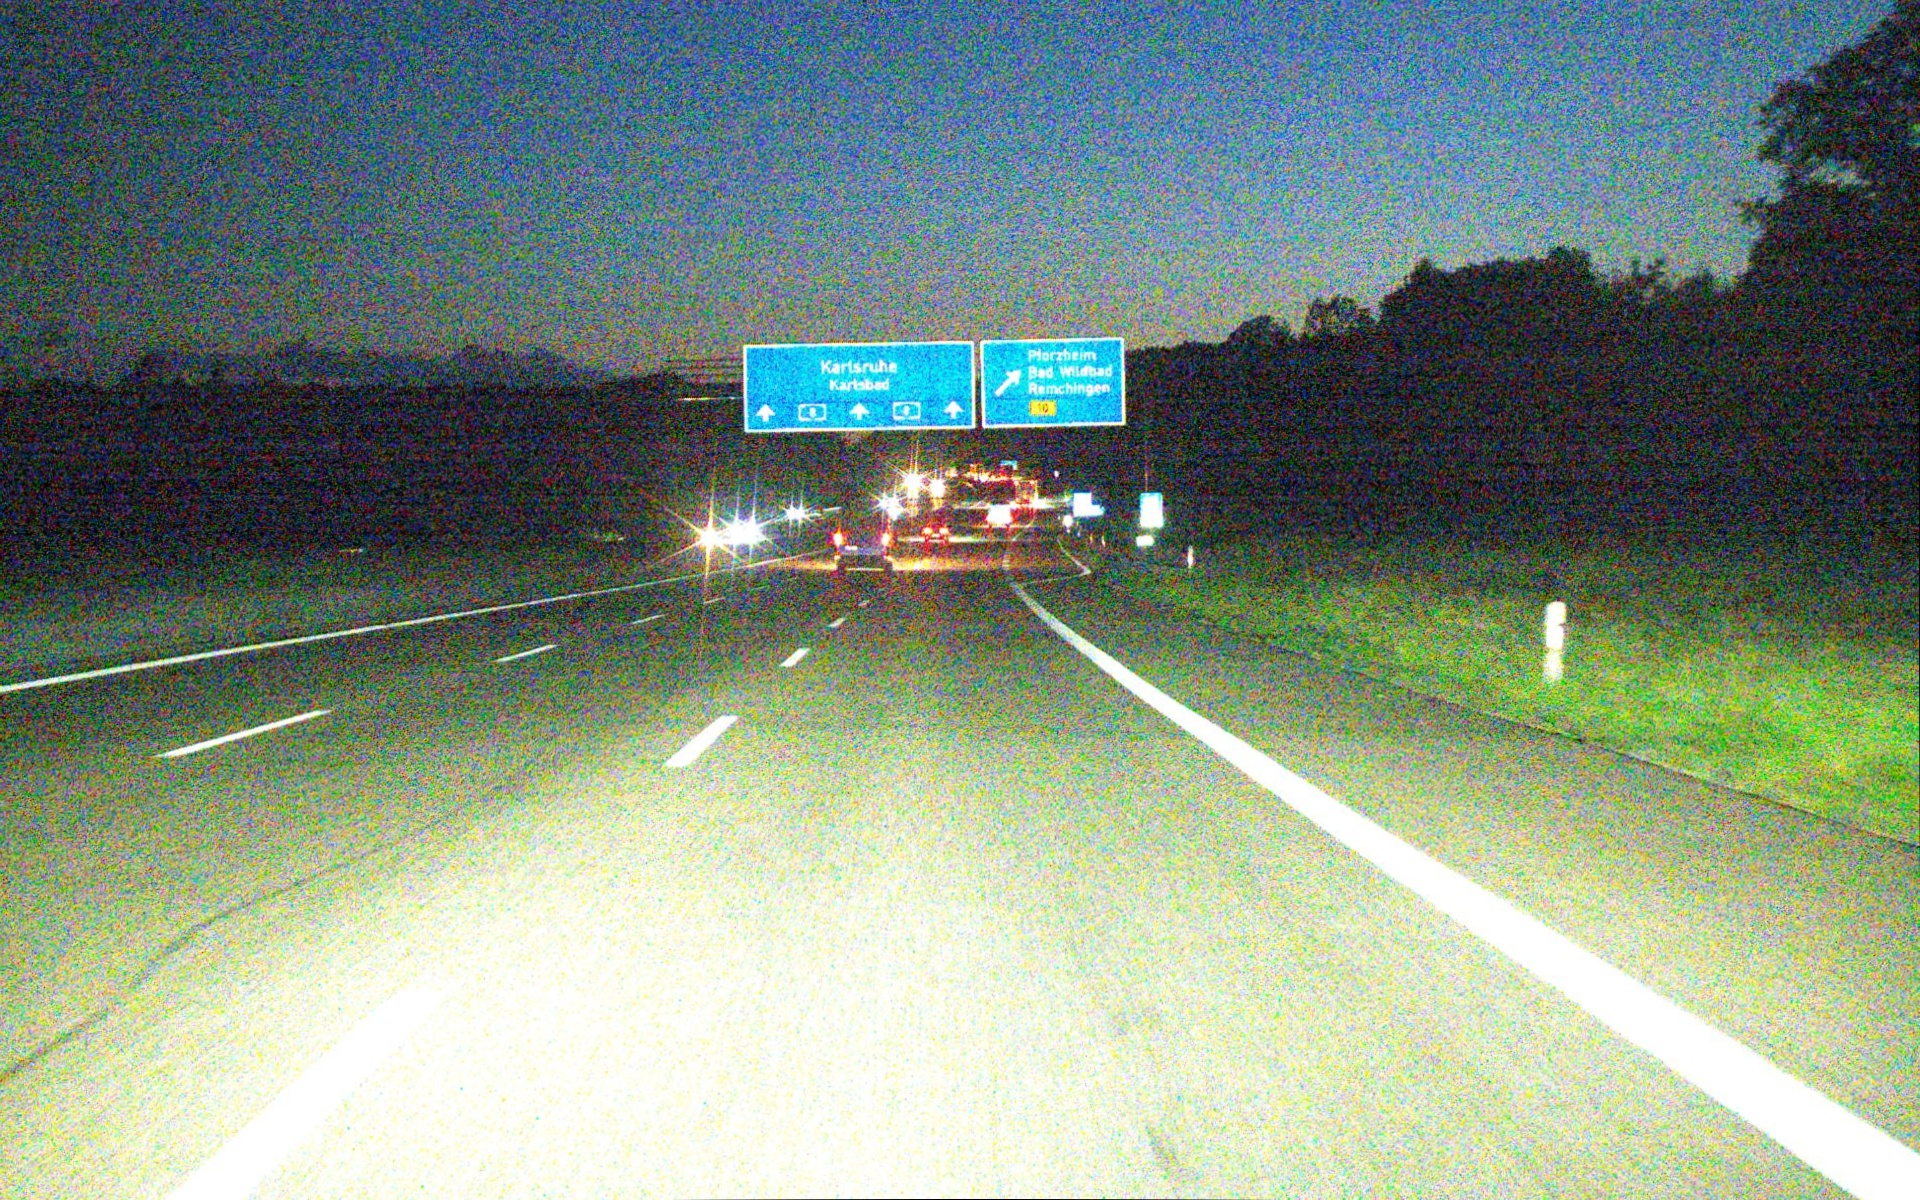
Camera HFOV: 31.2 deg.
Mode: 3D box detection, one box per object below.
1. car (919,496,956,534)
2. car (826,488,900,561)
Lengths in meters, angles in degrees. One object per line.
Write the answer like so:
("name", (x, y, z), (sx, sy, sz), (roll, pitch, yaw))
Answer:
("car", (-1.738, -6.419, 260.229), (2.786, 2.724, 6.299), (0, 0, -1))
("car", (-3.745, -2.889, 133.169), (2.786, 2.724, 6.299), (0, 0, -2))
